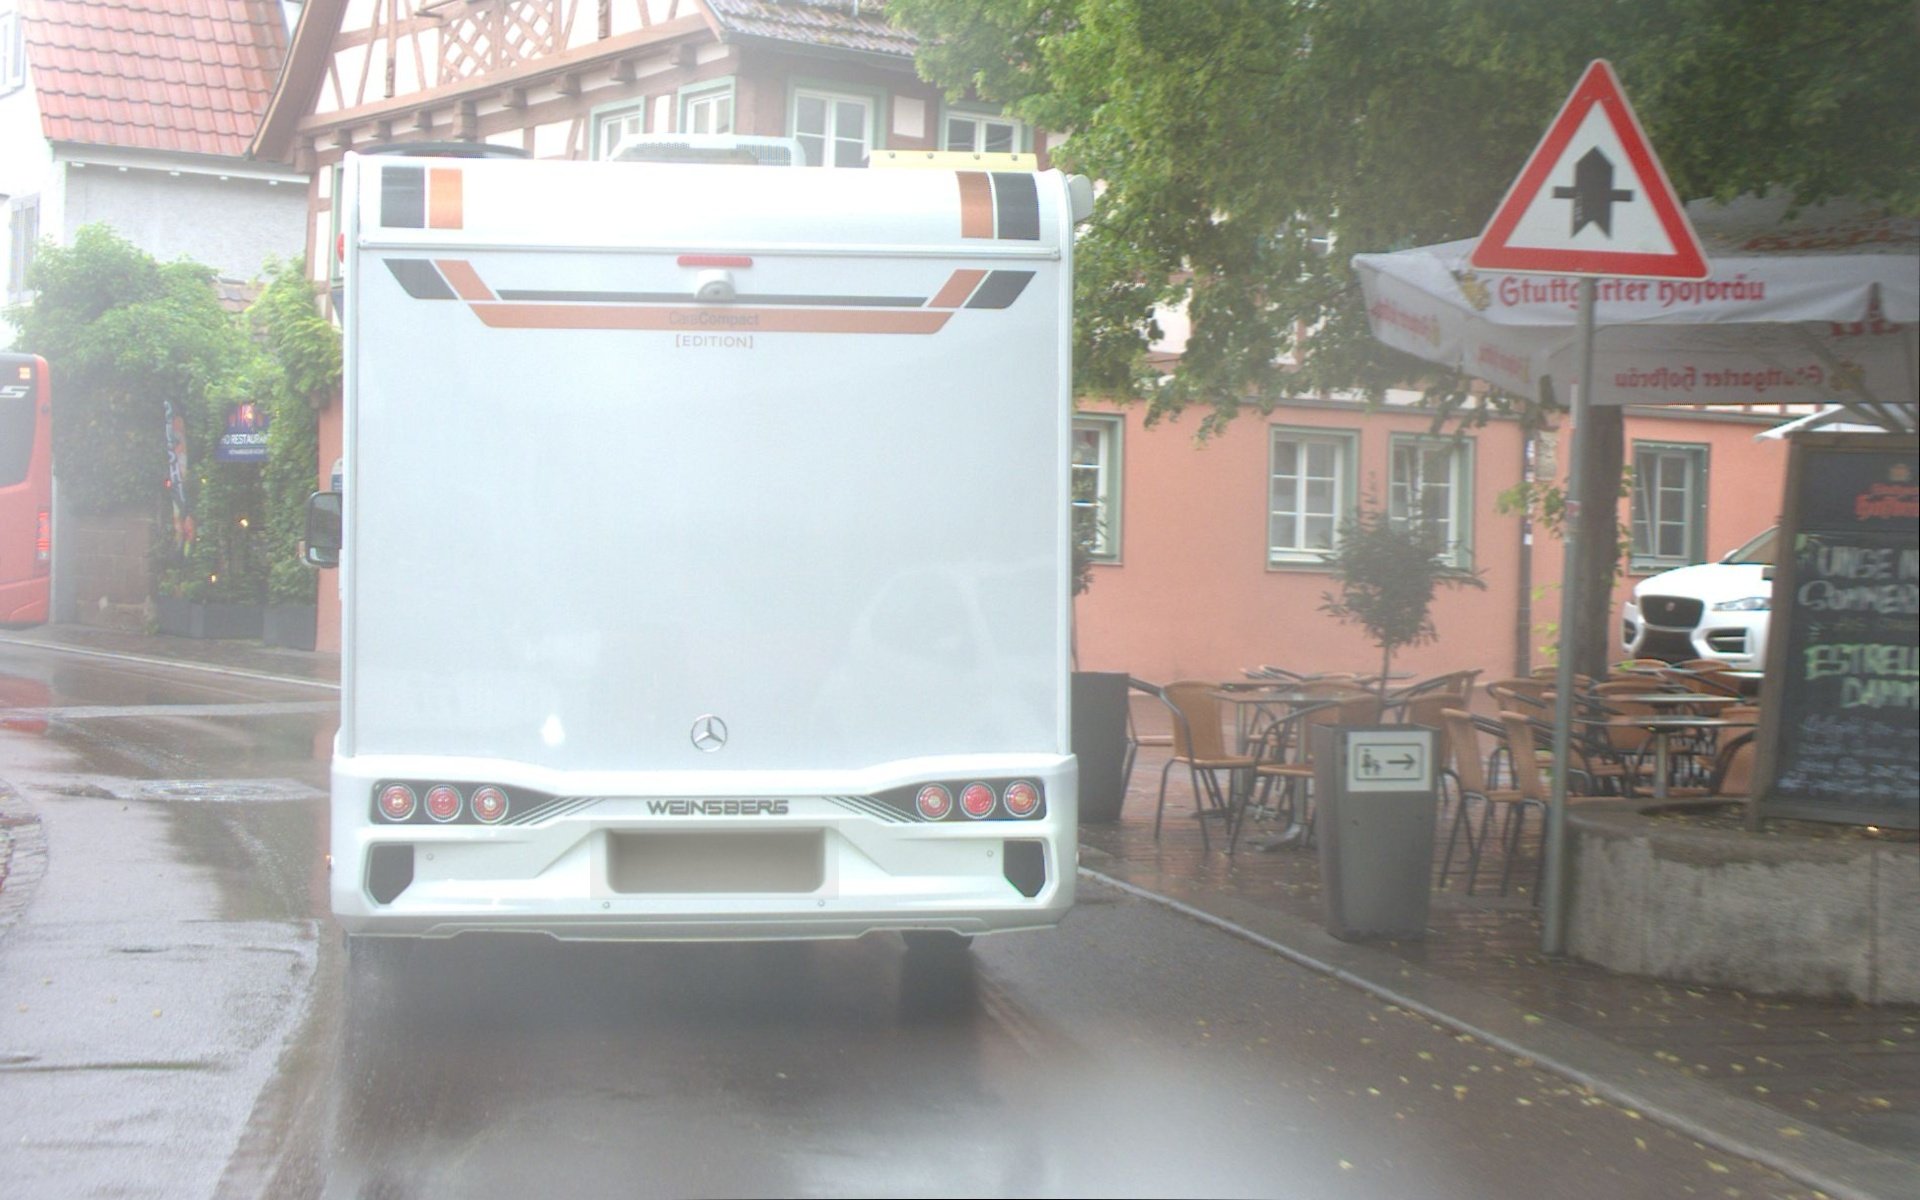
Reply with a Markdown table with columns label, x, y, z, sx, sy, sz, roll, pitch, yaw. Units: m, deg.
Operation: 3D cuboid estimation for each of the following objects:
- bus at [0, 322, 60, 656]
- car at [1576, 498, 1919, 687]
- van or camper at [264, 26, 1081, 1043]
| label | x | y | z | sx | sy | sz | roll | pitch | yaw |
| --- | --- | --- | --- | --- | --- | --- | --- | --- | --- |
| bus | -11.600 | -1.123 | 35.621 | 2.641 | 3.216 | 6.603 | 1 | 0 | -31 |
| car | 8.291 | -0.071 | 33.135 | 4.452 | 1.626 | 1.945 | 1 | 4 | -34 |
| van or camper | -1.247 | -0.199 | 13.155 | 2.325 | 2.909 | 6.394 | 1 | 0 | -8 |
